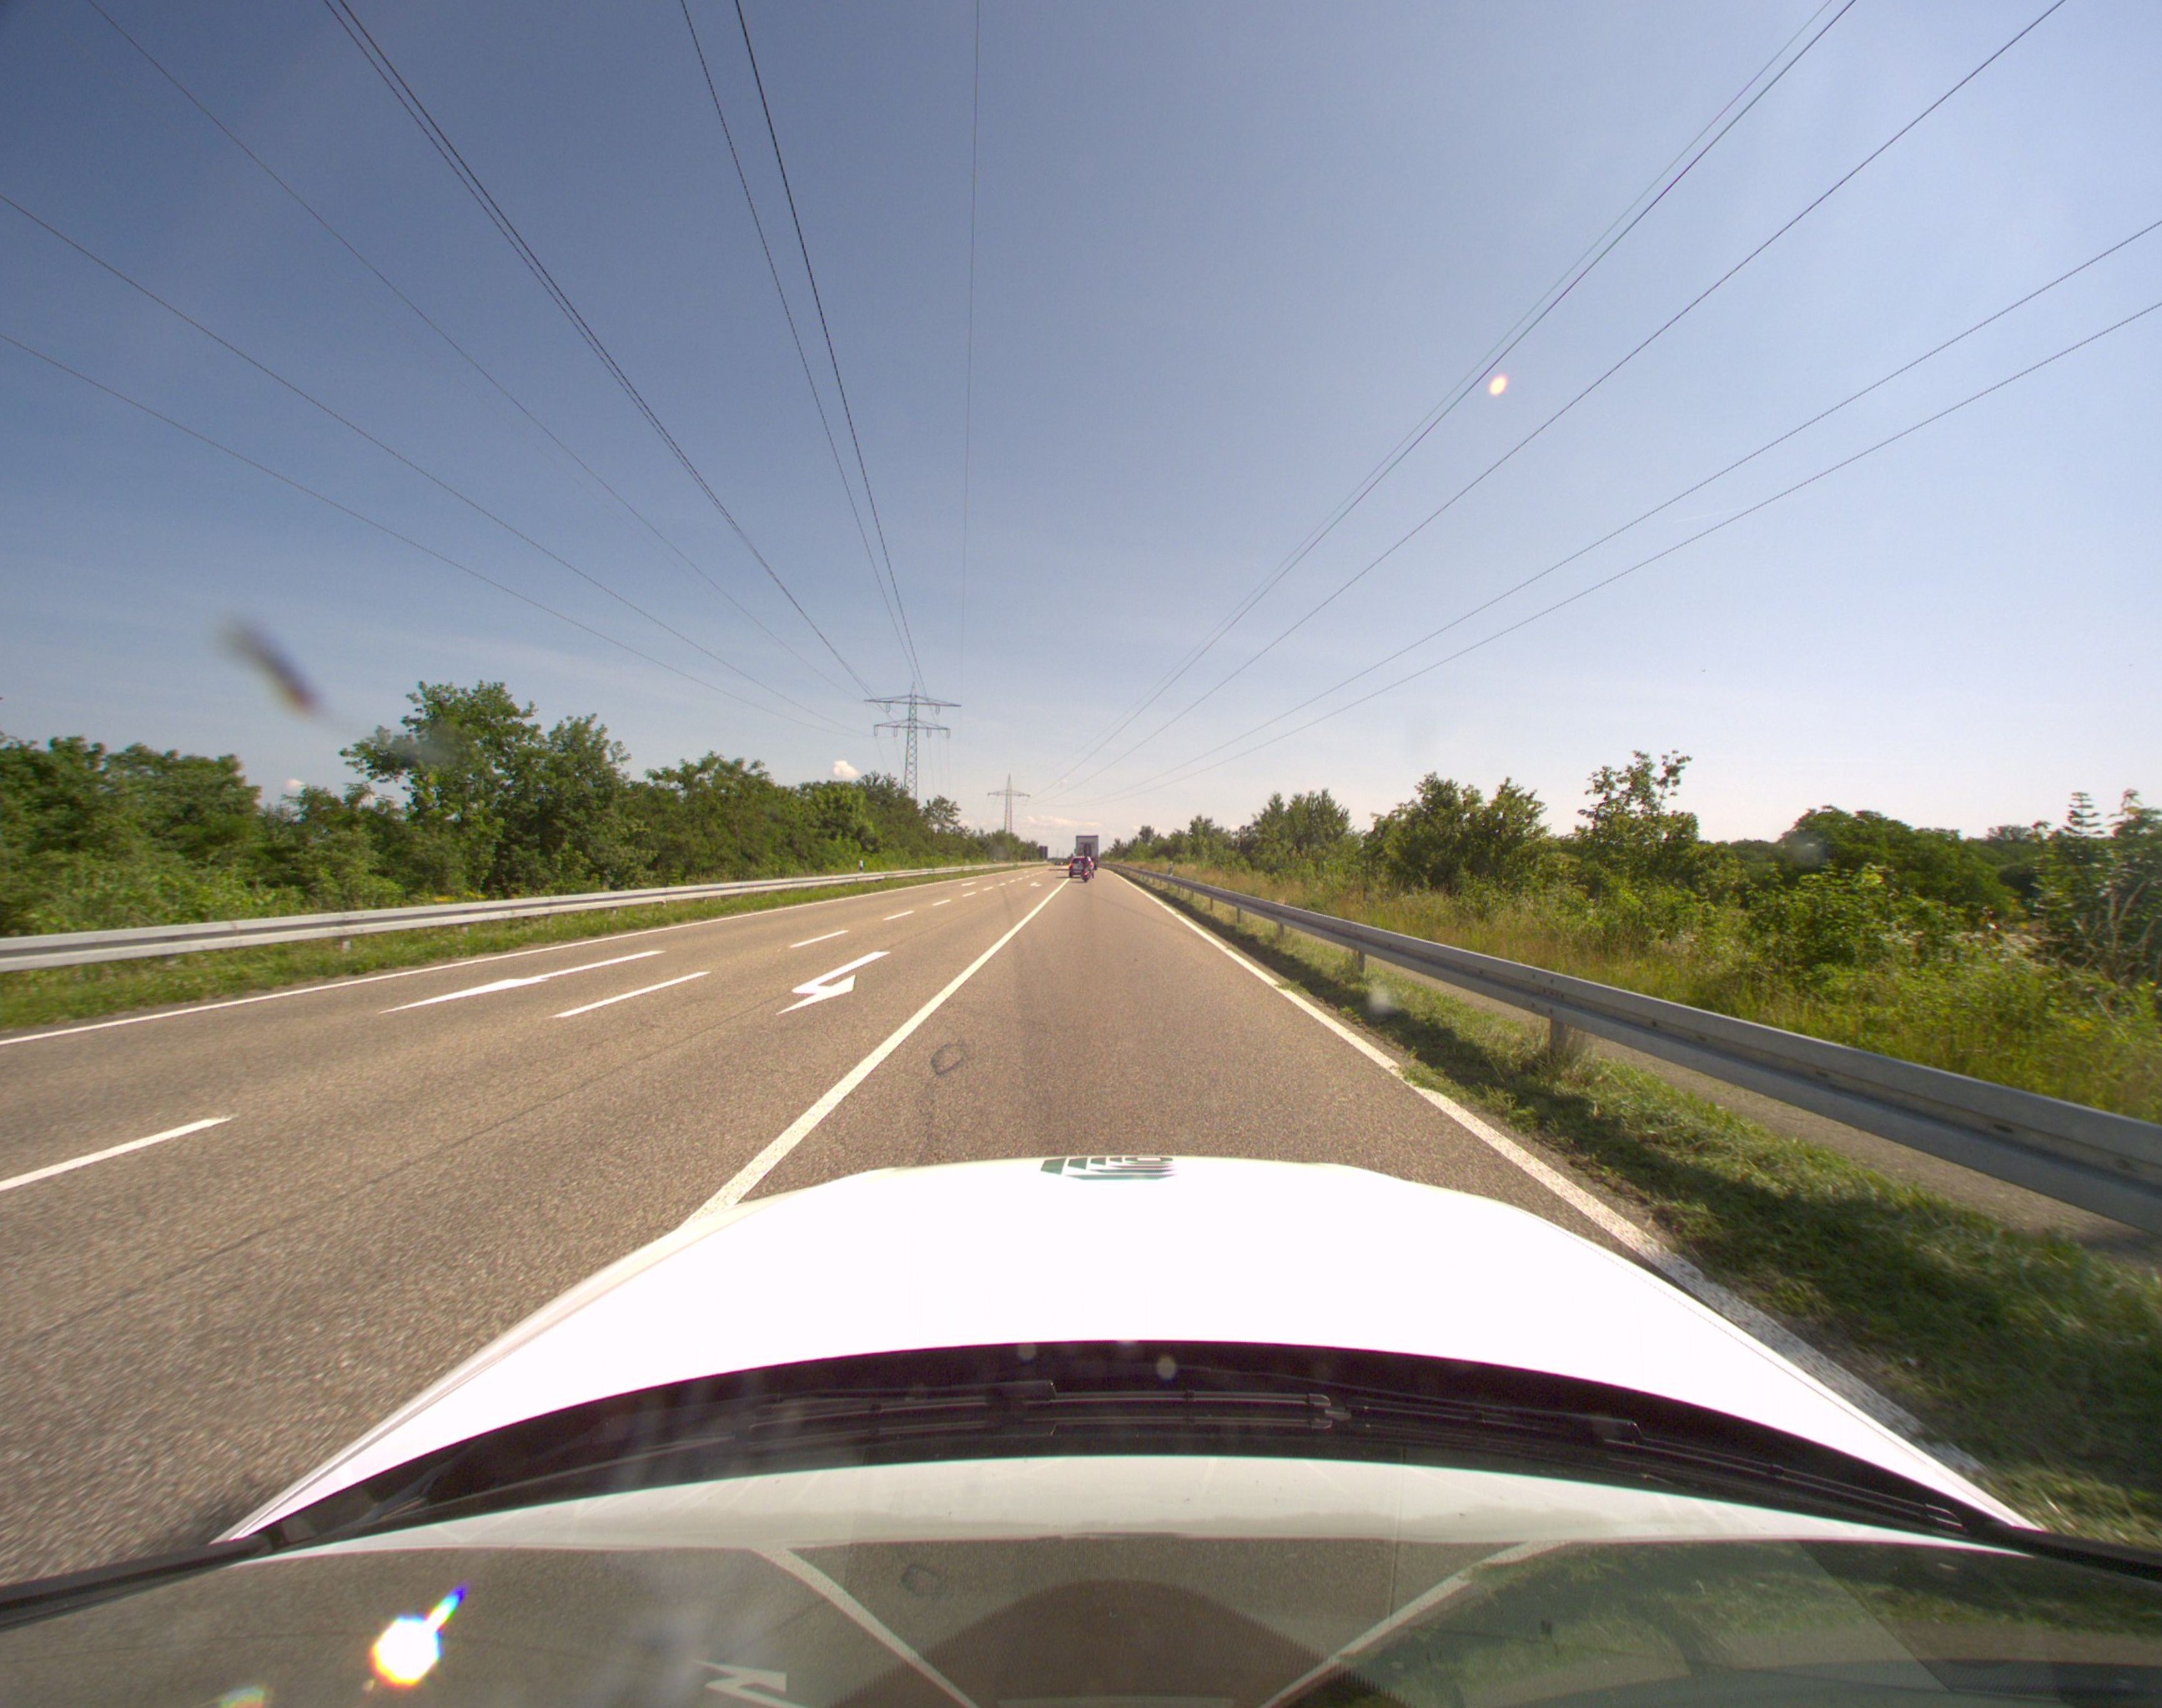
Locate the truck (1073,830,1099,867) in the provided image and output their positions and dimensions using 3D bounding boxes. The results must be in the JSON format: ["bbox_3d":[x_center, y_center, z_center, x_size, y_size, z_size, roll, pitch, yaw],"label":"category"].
[{"bbox_3d":[0.636,-0.534,100.656,2.958,4.187,14.820,0,-1,0],"label":"truck"}]

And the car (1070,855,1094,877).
[{"bbox_3d":[0.037,0.881,60.242,1.696,1.536,3.497,0,-1,-1],"label":"car"}]

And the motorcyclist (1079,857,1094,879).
[{"bbox_3d":[0.337,0.846,49.475,0.835,1.280,0.918,0,-1,-3],"label":"motorcyclist"}]

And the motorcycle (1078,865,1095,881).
[{"bbox_3d":[0.329,1.166,49.456,0.857,0.915,2.225,1,-1,-3],"label":"motorcycle"}]
